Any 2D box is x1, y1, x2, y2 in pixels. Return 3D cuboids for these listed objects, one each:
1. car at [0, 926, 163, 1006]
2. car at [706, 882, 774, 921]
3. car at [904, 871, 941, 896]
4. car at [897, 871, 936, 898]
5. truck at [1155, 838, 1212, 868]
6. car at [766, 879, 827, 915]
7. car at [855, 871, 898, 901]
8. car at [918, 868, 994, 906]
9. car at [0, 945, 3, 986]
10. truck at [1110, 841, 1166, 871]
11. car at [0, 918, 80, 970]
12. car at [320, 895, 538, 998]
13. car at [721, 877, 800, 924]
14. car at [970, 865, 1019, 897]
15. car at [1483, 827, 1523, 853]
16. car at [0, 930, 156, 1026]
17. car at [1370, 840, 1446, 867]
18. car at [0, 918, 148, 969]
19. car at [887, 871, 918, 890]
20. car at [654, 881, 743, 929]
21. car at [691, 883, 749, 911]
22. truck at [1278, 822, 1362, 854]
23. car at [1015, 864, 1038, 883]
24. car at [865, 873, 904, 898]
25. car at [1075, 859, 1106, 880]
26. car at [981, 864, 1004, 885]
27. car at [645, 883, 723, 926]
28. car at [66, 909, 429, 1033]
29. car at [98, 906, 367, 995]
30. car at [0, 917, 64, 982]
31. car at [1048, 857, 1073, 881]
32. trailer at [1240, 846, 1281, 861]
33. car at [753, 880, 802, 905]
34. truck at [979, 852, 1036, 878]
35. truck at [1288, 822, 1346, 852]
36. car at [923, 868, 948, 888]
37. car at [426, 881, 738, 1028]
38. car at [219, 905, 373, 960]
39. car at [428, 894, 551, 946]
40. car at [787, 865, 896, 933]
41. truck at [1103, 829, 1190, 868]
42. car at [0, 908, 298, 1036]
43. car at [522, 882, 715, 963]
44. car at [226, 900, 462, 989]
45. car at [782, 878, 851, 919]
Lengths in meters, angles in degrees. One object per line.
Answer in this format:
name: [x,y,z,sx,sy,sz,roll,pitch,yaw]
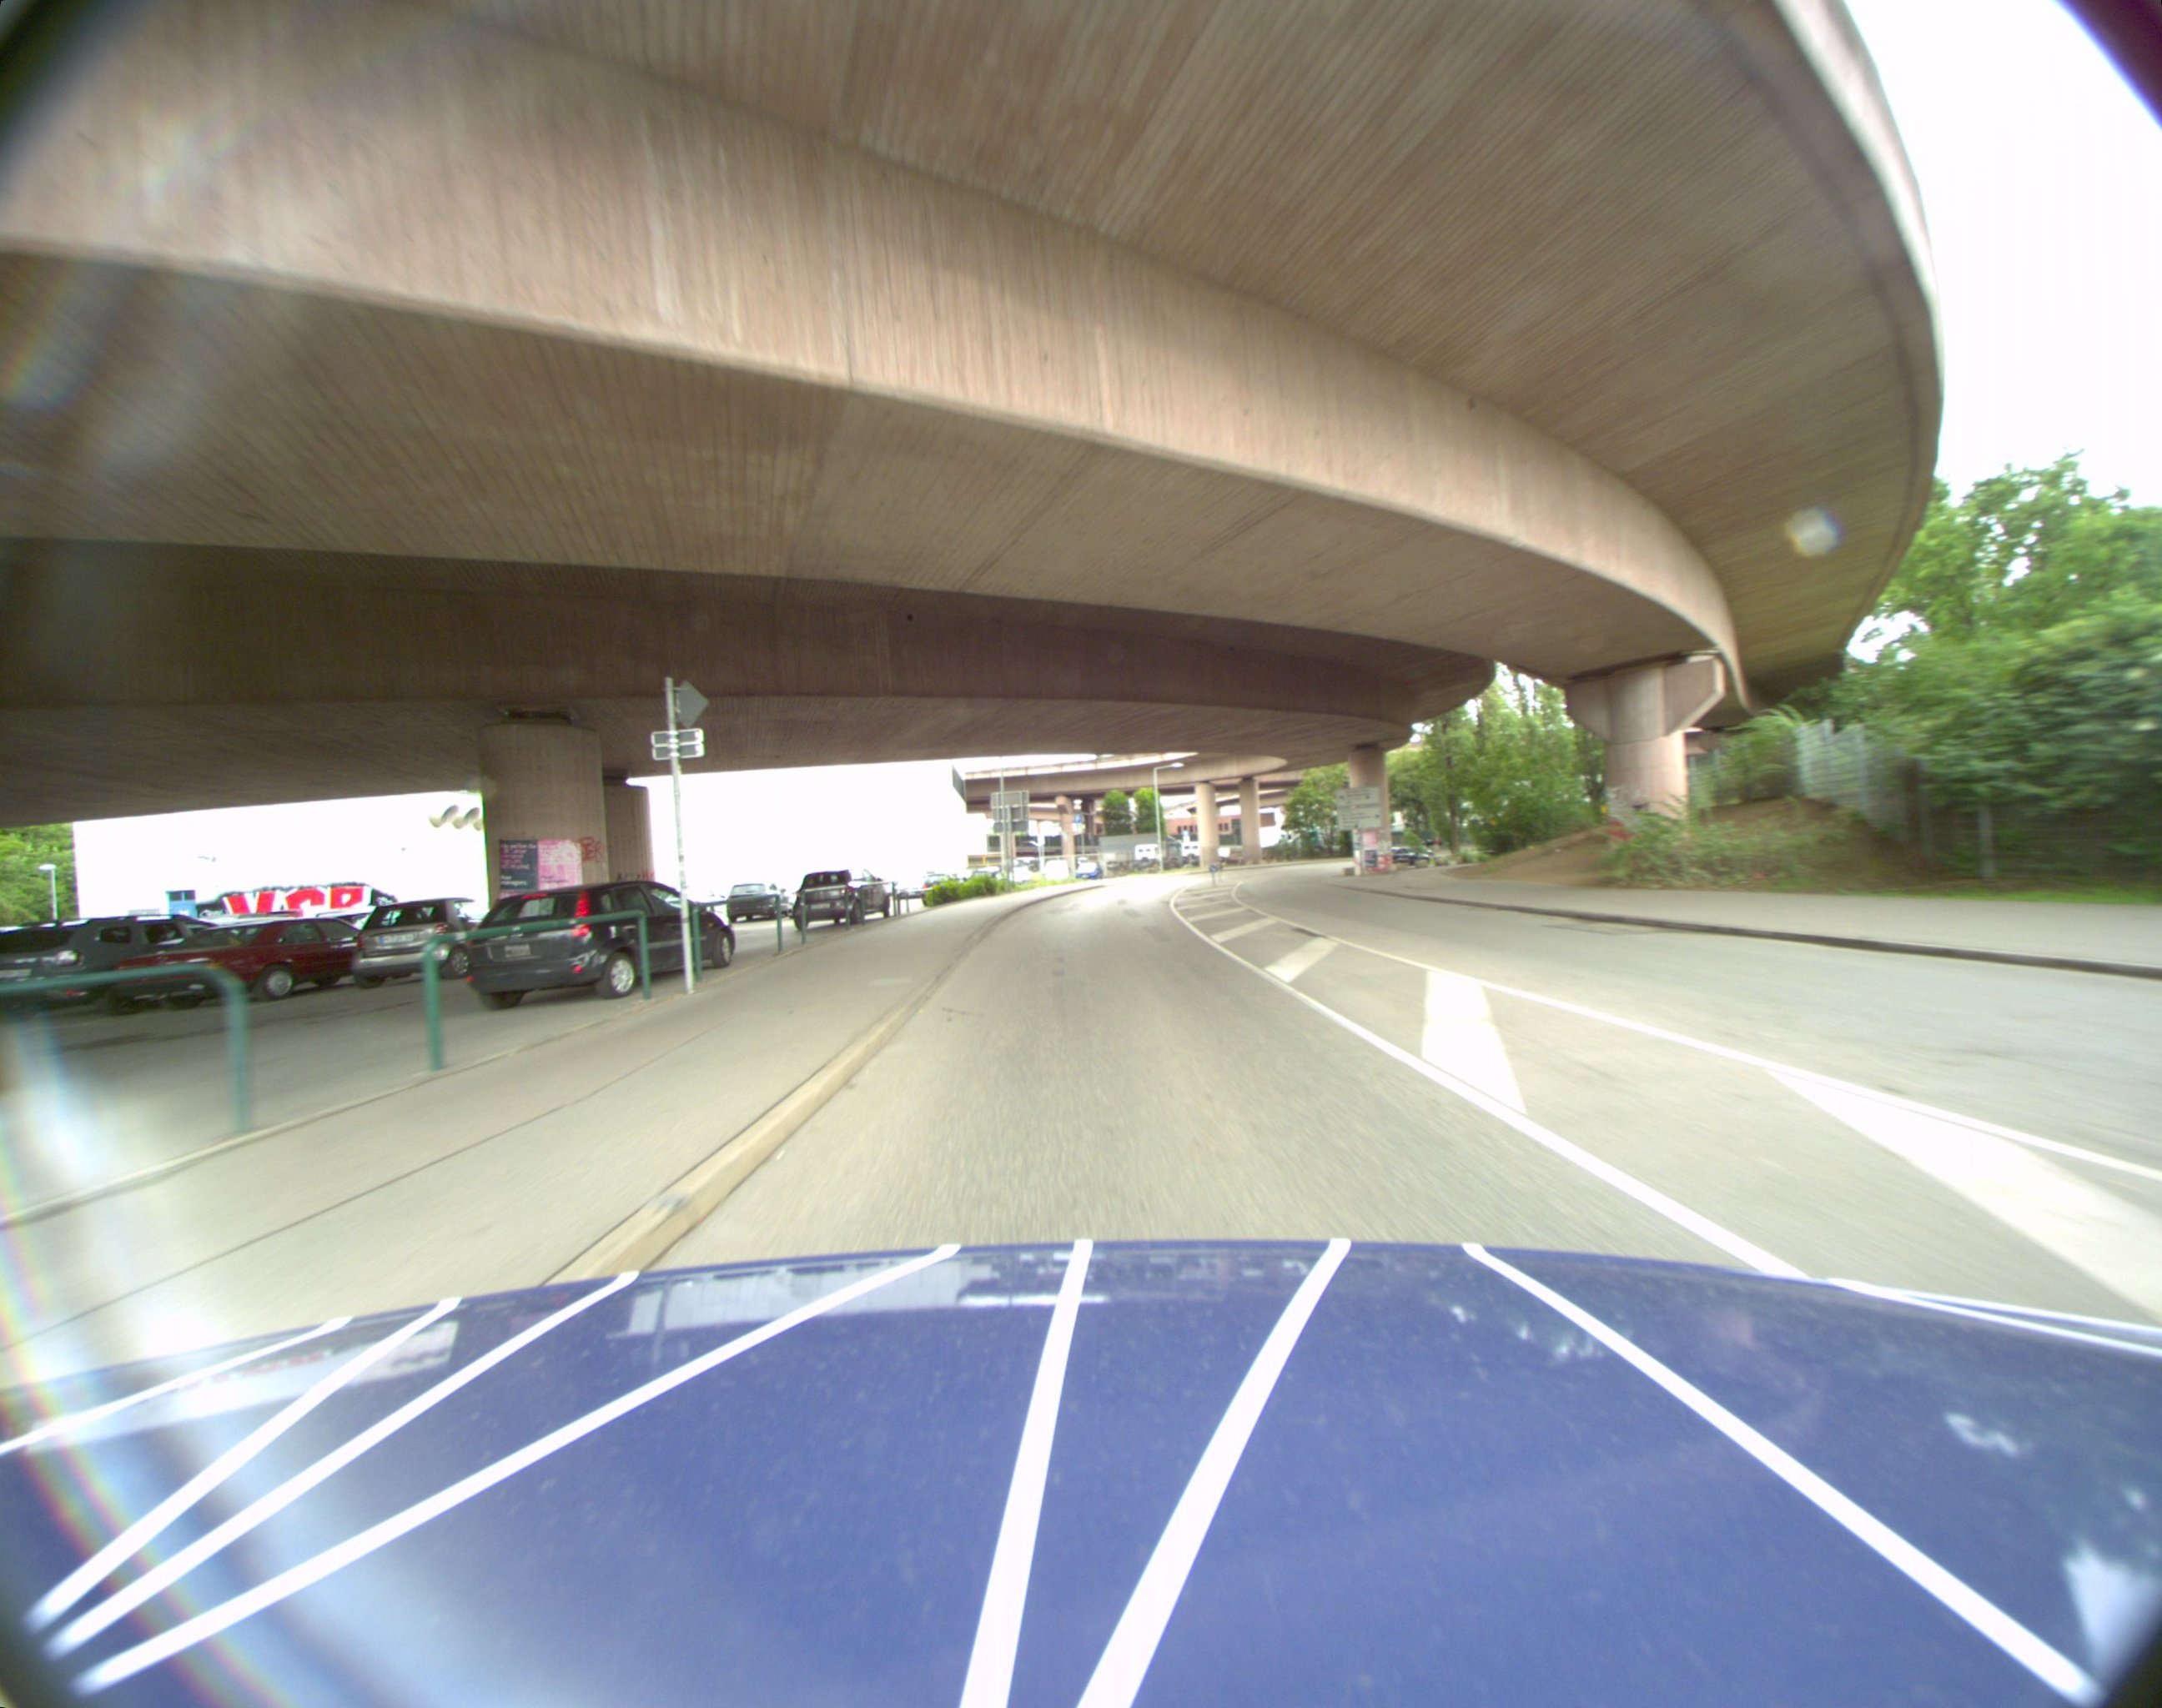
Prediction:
car: [-24.321,2.596,17.370,1.838,1.457,4.189,-3,0,-8]
car: [-16.077,2.190,36.038,1.756,1.547,4.085,-3,0,-8]
car: [-10.917,2.035,52.575,1.838,1.504,4.499,-3,0,-5]
car: [-10.227,1.872,47.541,1.858,1.466,4.684,-3,0,-7]
truck: [10.818,-0.140,79.630,2.418,2.728,7.249,-3,0,38]
car: [-13.643,2.007,36.691,1.756,1.440,4.456,-3,0,-8]
car: [-12.694,1.937,47.351,1.858,1.618,4.618,-3,0,-7]
car: [-5.736,1.510,35.423,1.732,1.470,4.254,-3,0,16]
car: [-29.188,2.661,17.363,2.091,1.667,5.103,-3,0,-8]
truck: [6.051,0.204,79.845,2.452,2.869,6.130,-3,0,43]
car: [-39.612,3.371,27.347,1.838,1.678,4.189,-3,0,-8]
car: [-12.514,1.689,14.872,1.530,1.491,3.373,-5,0,-8]
car: [-12.905,1.834,30.841,1.838,1.583,4.189,-3,0,-8]
car: [-4.499,1.402,39.880,1.541,1.470,2.764,-3,0,16]
car: [34.332,-1.153,61.939,1.853,1.906,4.979,-3,1,18]
car: [-19.330,2.264,13.263,1.838,1.419,3.860,-3,0,-8]
car: [20.968,-0.037,48.648,4.780,1.421,1.825,-3,-2,-29]
car: [-37.280,3.242,27.592,1.838,1.400,4.189,-3,0,-8]
car: [-14.791,2.141,63.023,1.775,1.375,4.359,-3,0,-4]
car: [-15.244,1.965,30.542,1.838,1.583,4.189,-3,0,-8]
car: [-22.068,2.590,46.636,1.785,1.384,4.434,-3,0,-7]
truck: [30.922,-2.075,98.459,10.212,3.478,2.269,-3,1,-4]
car: [-4.641,1.626,65.412,1.774,1.448,4.554,-3,0,-2]
car: [-13.646,2.135,52.947,1.838,1.504,4.499,-3,0,-5]
car: [0.847,1.309,66.458,1.773,1.625,4.689,-3,0,11]
car: [-7.534,1.715,65.137,1.775,1.578,4.359,-3,0,-6]
car: [-18.542,2.294,35.733,1.756,1.681,4.429,-3,0,-8]
car: [-14.700,1.961,13.890,1.837,1.461,4.379,-5,0,-3]
car: [-19.406,2.127,17.730,1.838,1.457,4.189,-3,0,-8]
car: [-26.505,2.361,17.085,1.838,1.457,4.189,-3,0,-8]
car: [-1.749,1.241,66.888,1.892,1.945,4.680,-3,0,1]
trailer: [19.660,-0.082,83.174,4.388,1.324,1.602,-4,1,-31]
car: [-20.613,2.570,51.818,1.838,1.417,4.440,-3,0,-5]
truck: [-9.303,1.382,97.415,6.926,2.915,3.050,-3,-1,-2]
truck: [29.546,-2.179,95.228,6.408,3.389,2.270,-3,1,-2]
car: [-12.199,1.988,63.855,1.623,1.535,3.097,-3,0,-4]
car: [-6.348,1.184,10.214,1.610,1.389,3.580,-5,0,3]
car: [-29.840,2.921,29.100,1.838,1.583,4.189,-3,0,-8]
car: [-22.814,2.495,29.540,1.838,1.583,4.189,-3,0,-8]
car: [-6.396,1.150,20.639,1.610,1.524,3.411,-5,0,3]
truck: [8.074,-0.643,94.520,10.132,4.340,3.912,-3,0,-5]
car: [-16.864,1.979,13.630,1.838,1.688,3.860,-3,0,-8]
car: [-11.519,1.648,19.266,1.788,1.498,3.862,-5,1,16]
car: [-17.259,2.039,18.146,1.838,1.541,4.189,-3,0,-8]
car: [-10.903,1.792,31.590,1.838,1.413,4.189,-3,0,-8]
